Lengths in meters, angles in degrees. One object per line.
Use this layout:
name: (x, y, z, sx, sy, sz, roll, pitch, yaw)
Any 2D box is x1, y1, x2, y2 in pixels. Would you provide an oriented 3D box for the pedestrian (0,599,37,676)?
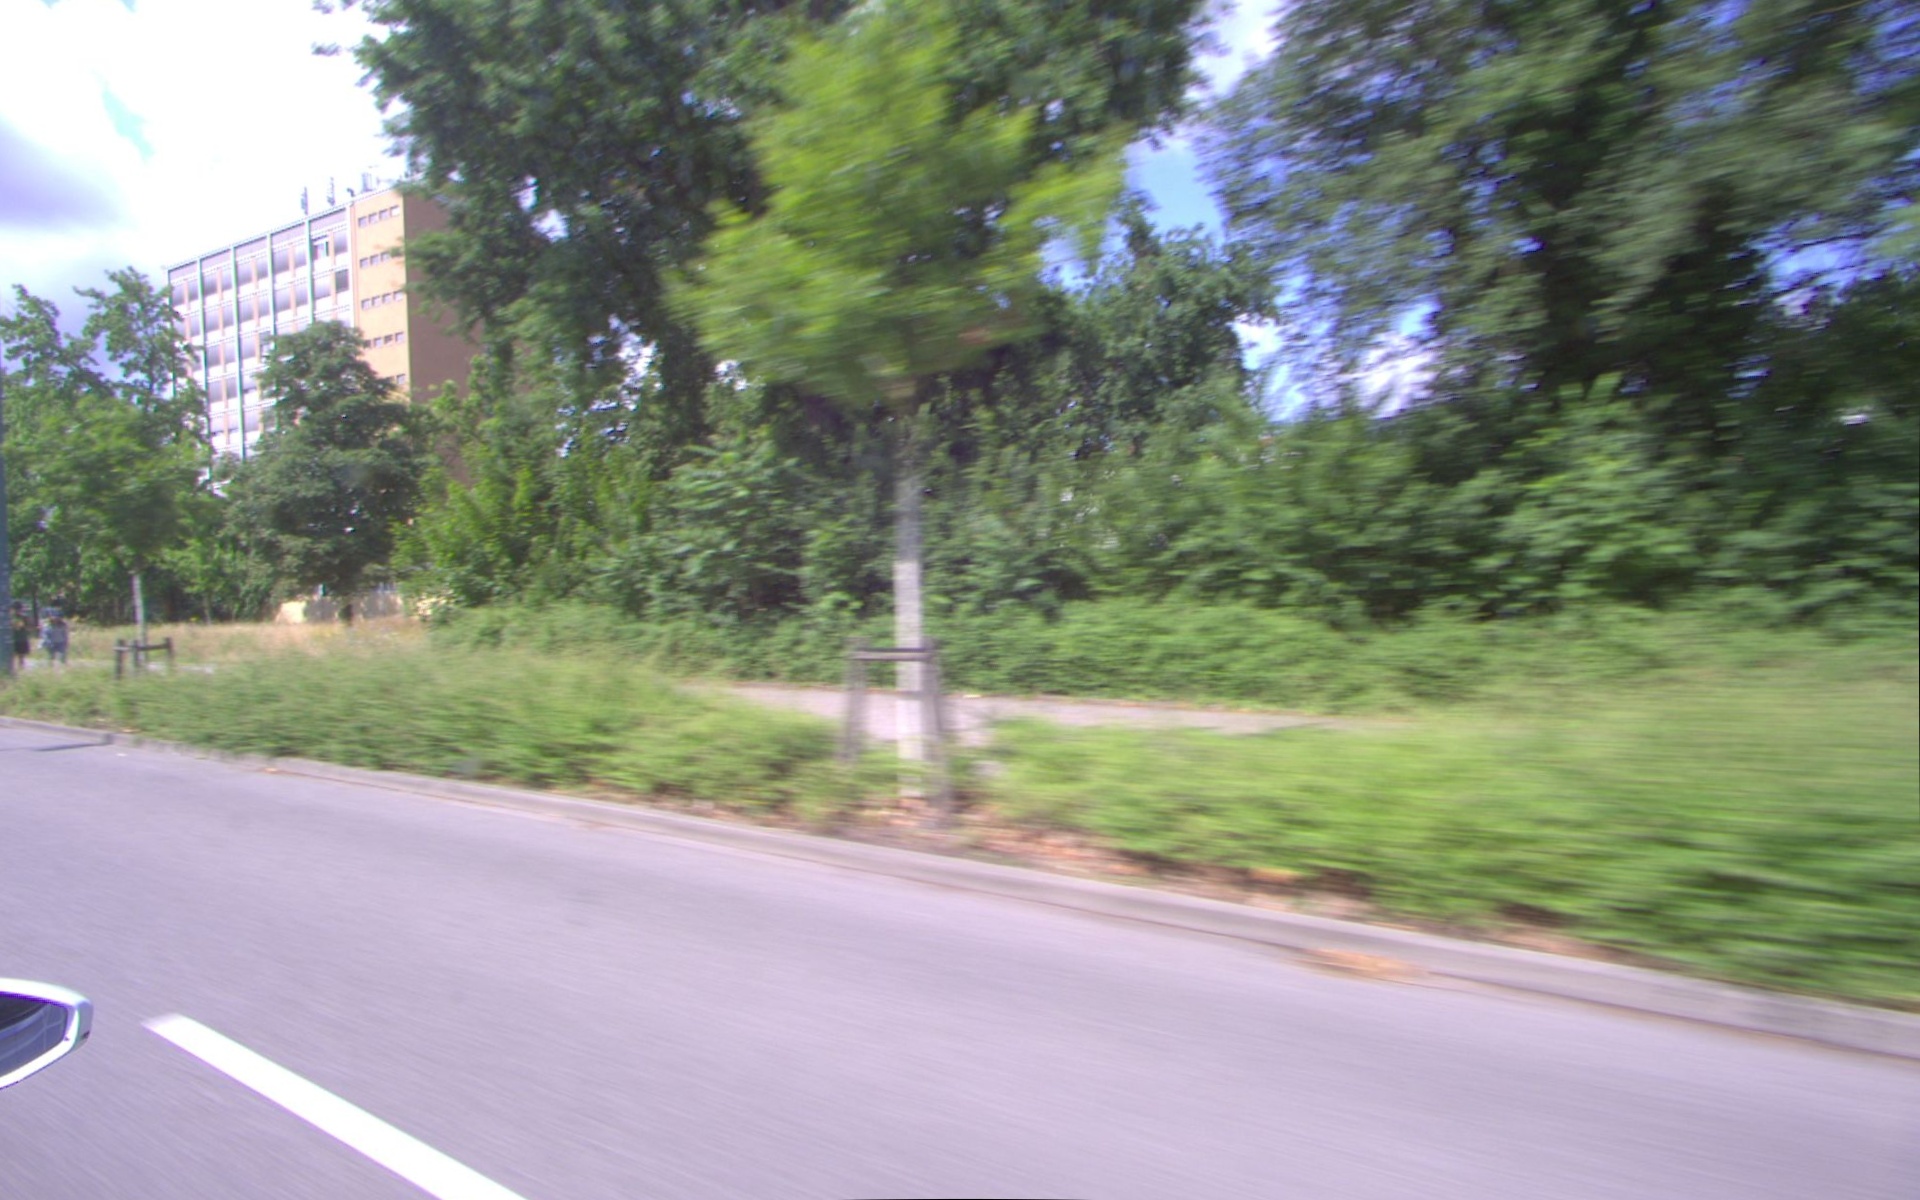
pedestrian: (-22.919, 0.893, 24.321, 0.630, 1.826, 0.565, 0, 1, 34)

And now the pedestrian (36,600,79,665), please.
pedestrian: (-22.655, 0.807, 25.143, 0.698, 1.602, 0.621, 0, 1, 34)
